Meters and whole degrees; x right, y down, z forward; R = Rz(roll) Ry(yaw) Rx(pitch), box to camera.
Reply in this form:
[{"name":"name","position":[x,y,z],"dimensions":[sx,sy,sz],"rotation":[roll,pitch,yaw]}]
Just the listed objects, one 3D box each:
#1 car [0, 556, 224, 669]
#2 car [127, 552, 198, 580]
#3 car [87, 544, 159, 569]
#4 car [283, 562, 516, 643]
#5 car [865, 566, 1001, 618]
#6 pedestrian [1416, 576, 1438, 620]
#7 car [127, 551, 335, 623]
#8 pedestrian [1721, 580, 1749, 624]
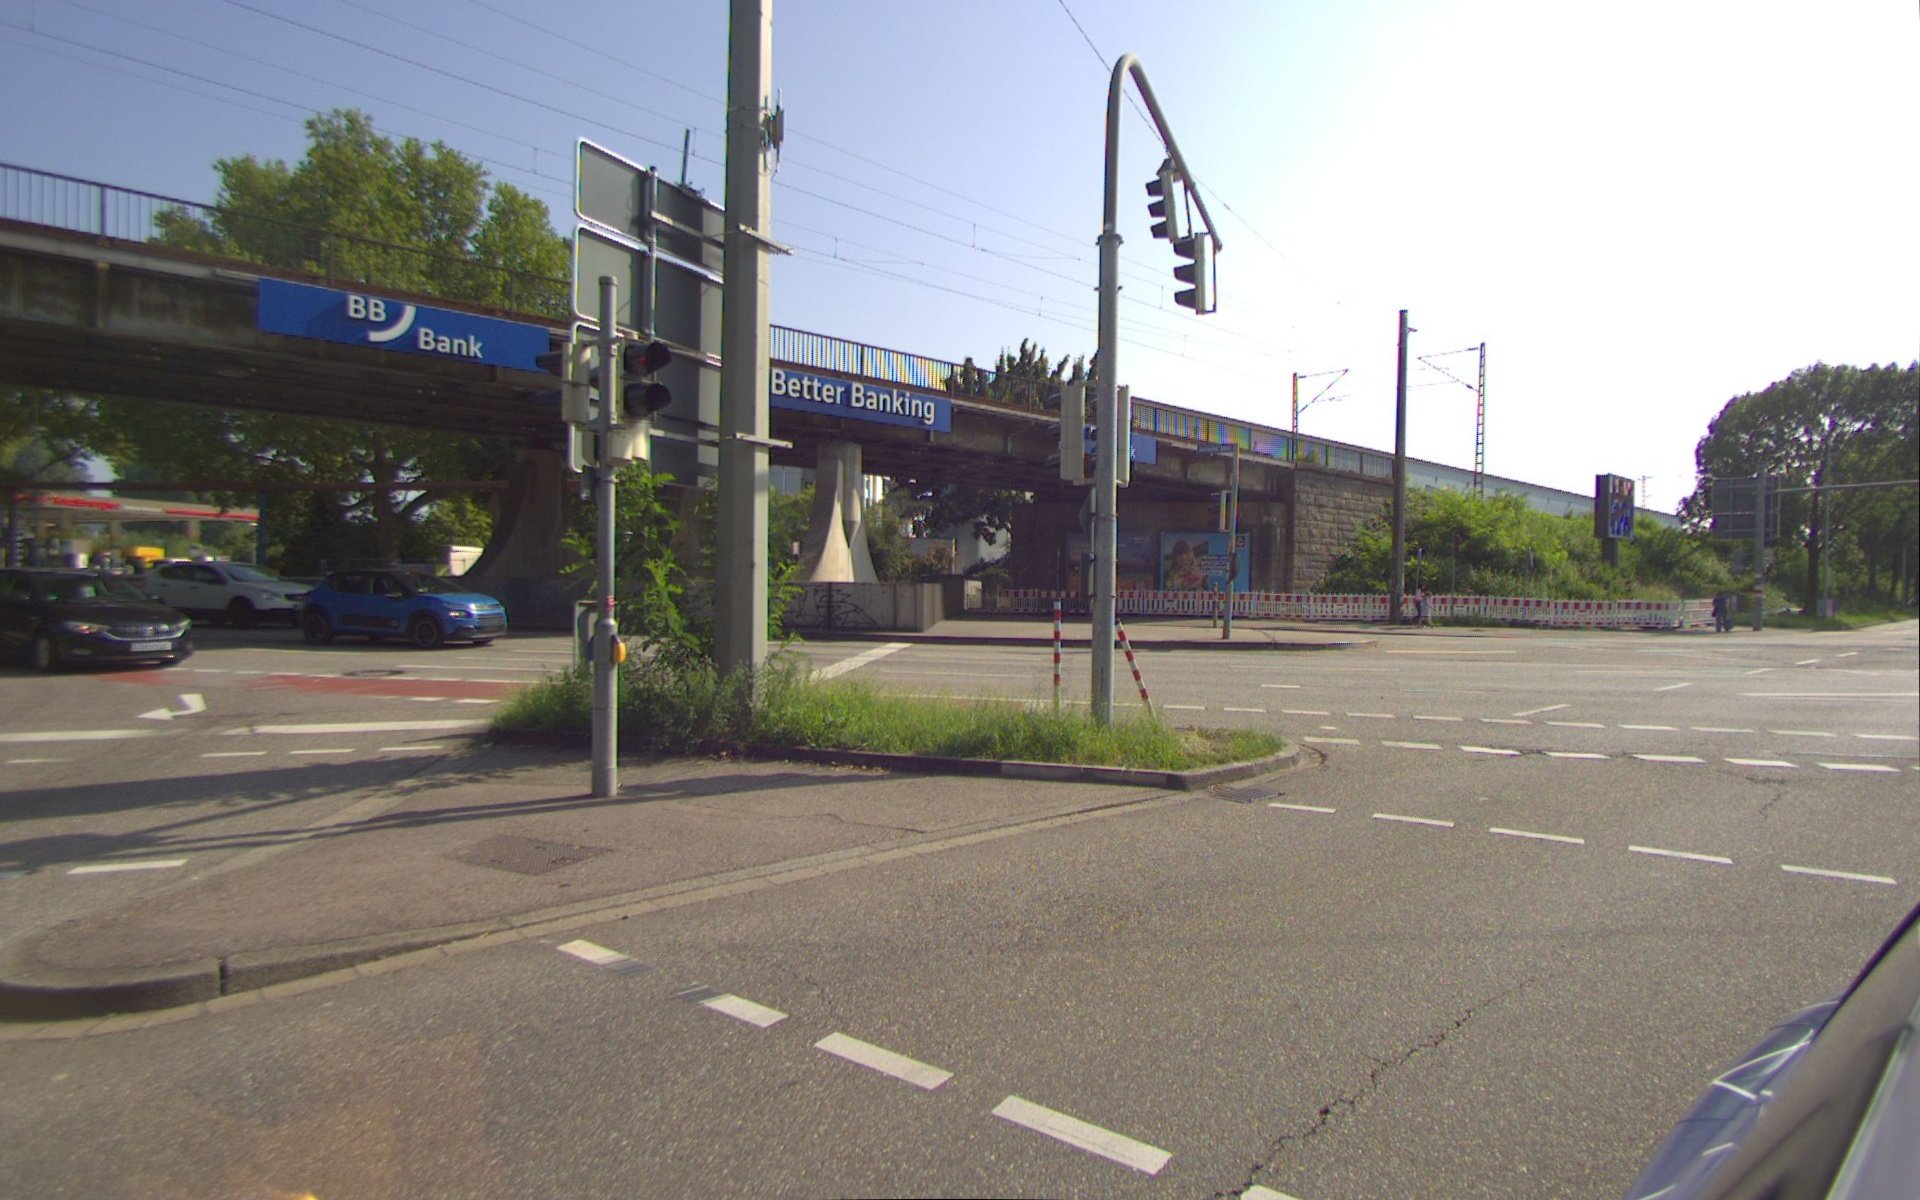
[{"name":"car","position":[-13.663,0.121,15.404],"dimensions":[4.135,1.552,1.862],"rotation":[1,1,16]},{"name":"car","position":[-58.093,-2.474,73.749],"dimensions":[3.940,2.038,2.121],"rotation":[1,1,14]},{"name":"car","position":[-68.879,-3.590,83.295],"dimensions":[5.035,2.038,1.992],"rotation":[1,1,14]},{"name":"car","position":[-10.988,0.008,19.912],"dimensions":[3.939,1.470,1.612],"rotation":[1,2,13]},{"name":"car","position":[-0.844,-0.256,32.767],"dimensions":[4.130,1.608,1.775],"rotation":[1,-1,12]},{"name":"pedestrian","position":[16.891,-0.071,36.620],"dimensions":[0.625,1.594,0.489],"rotation":[0,1,12]},{"name":"car","position":[-17.696,-0.344,24.625],"dimensions":[4.157,1.638,2.001],"rotation":[1,1,16]},{"name":"pedestrian","position":[28.713,0.059,37.486],"dimensions":[0.747,1.593,0.648],"rotation":[-1,3,-44]}]
